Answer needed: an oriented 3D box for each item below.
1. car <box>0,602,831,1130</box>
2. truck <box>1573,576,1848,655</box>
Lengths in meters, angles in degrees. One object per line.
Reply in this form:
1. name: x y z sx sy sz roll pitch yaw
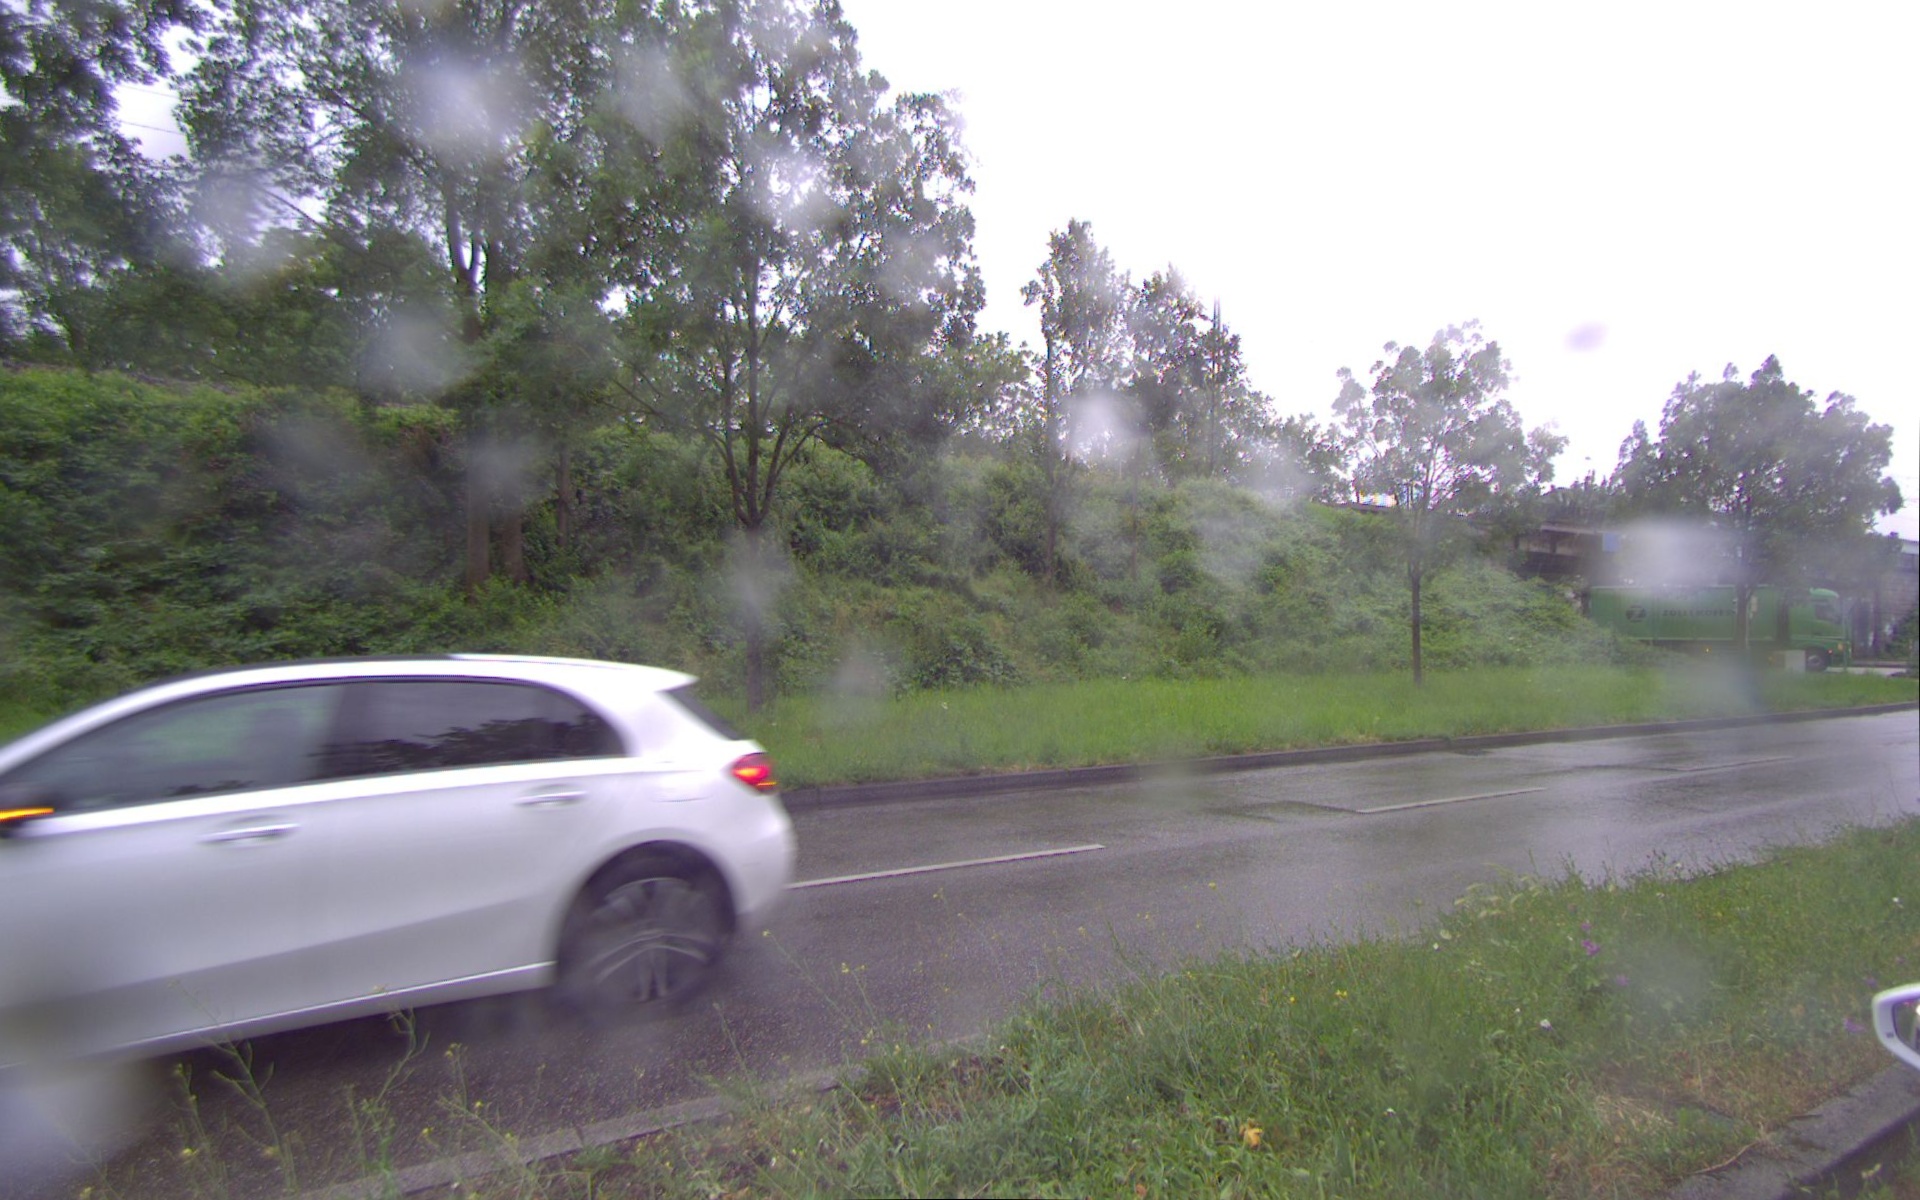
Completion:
1. car: -2.703 0.848 4.033 4.001 1.539 1.726 2 -4 -31
2. truck: 34.224 0.674 46.357 9.872 3.416 2.346 0 -1 25
